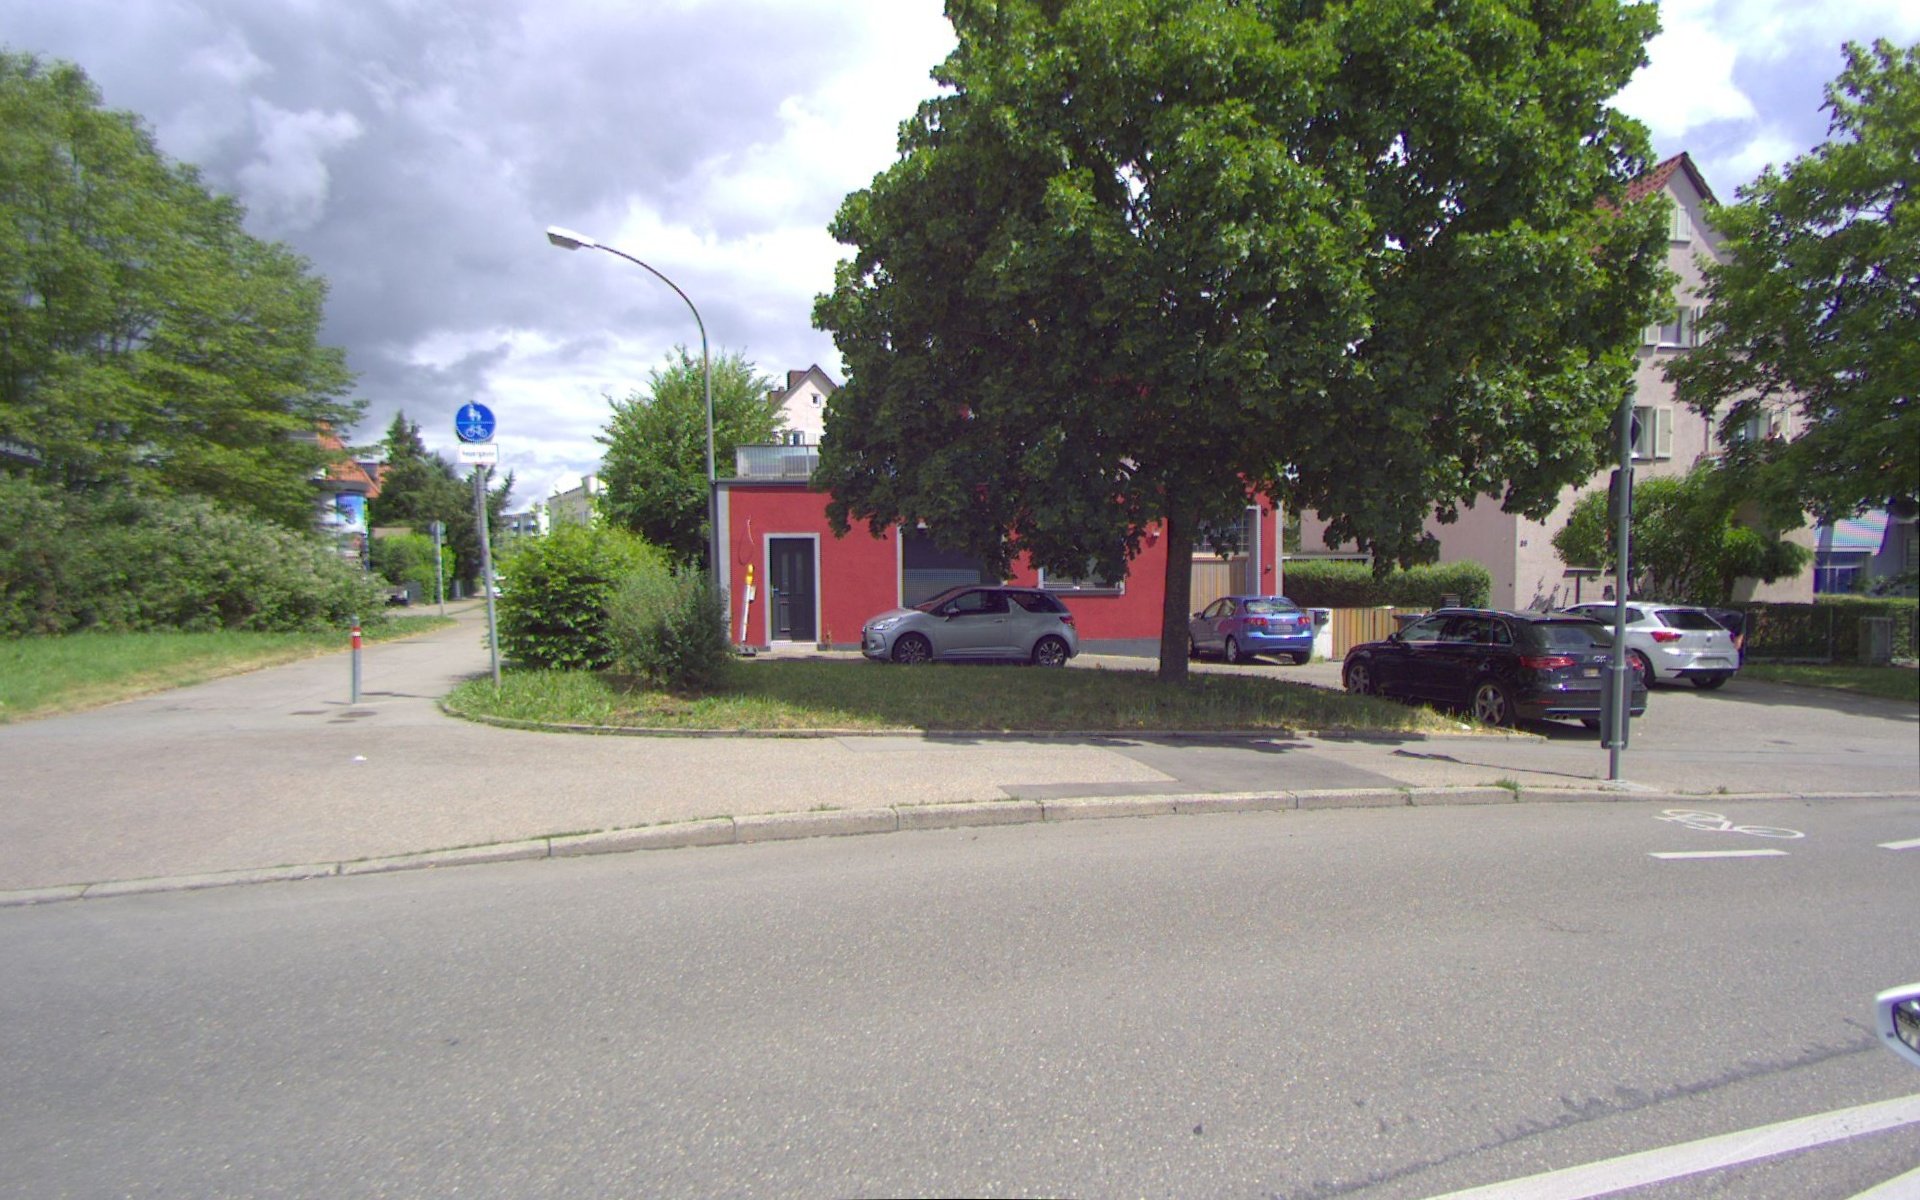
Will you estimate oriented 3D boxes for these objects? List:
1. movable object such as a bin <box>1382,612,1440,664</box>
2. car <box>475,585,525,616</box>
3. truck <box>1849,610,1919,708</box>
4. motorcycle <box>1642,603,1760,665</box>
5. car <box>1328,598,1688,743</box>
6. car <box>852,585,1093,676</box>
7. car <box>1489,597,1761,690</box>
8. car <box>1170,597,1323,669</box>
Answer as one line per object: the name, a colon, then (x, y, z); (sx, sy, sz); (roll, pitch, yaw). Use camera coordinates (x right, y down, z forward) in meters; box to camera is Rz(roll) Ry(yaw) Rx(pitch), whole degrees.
movable object such as a bin: (9.912, 0.821, 22.078); (0.864, 1.076, 0.757); (1, 2, -6)
car: (-23.360, 0.004, 51.130); (1.855, 1.439, 3.983); (1, 1, -18)
truck: (31.776, 1.879, 31.638); (5.775, 2.912, 2.461); (2, 1, -9)
motorcycle: (17.152, 0.774, 23.273); (2.196, 1.333, 0.918); (1, 3, -12)
car: (6.822, 0.780, 13.118); (1.964, 1.412, 4.136); (1, 2, -9)
car: (0.165, 0.524, 17.792); (4.005, 1.445, 1.642); (1, 3, -11)
car: (11.887, 0.716, 18.303); (1.844, 1.423, 3.921); (1, 1, -13)
car: (6.206, 0.659, 22.214); (1.810, 1.396, 3.807); (0, 1, -9)
